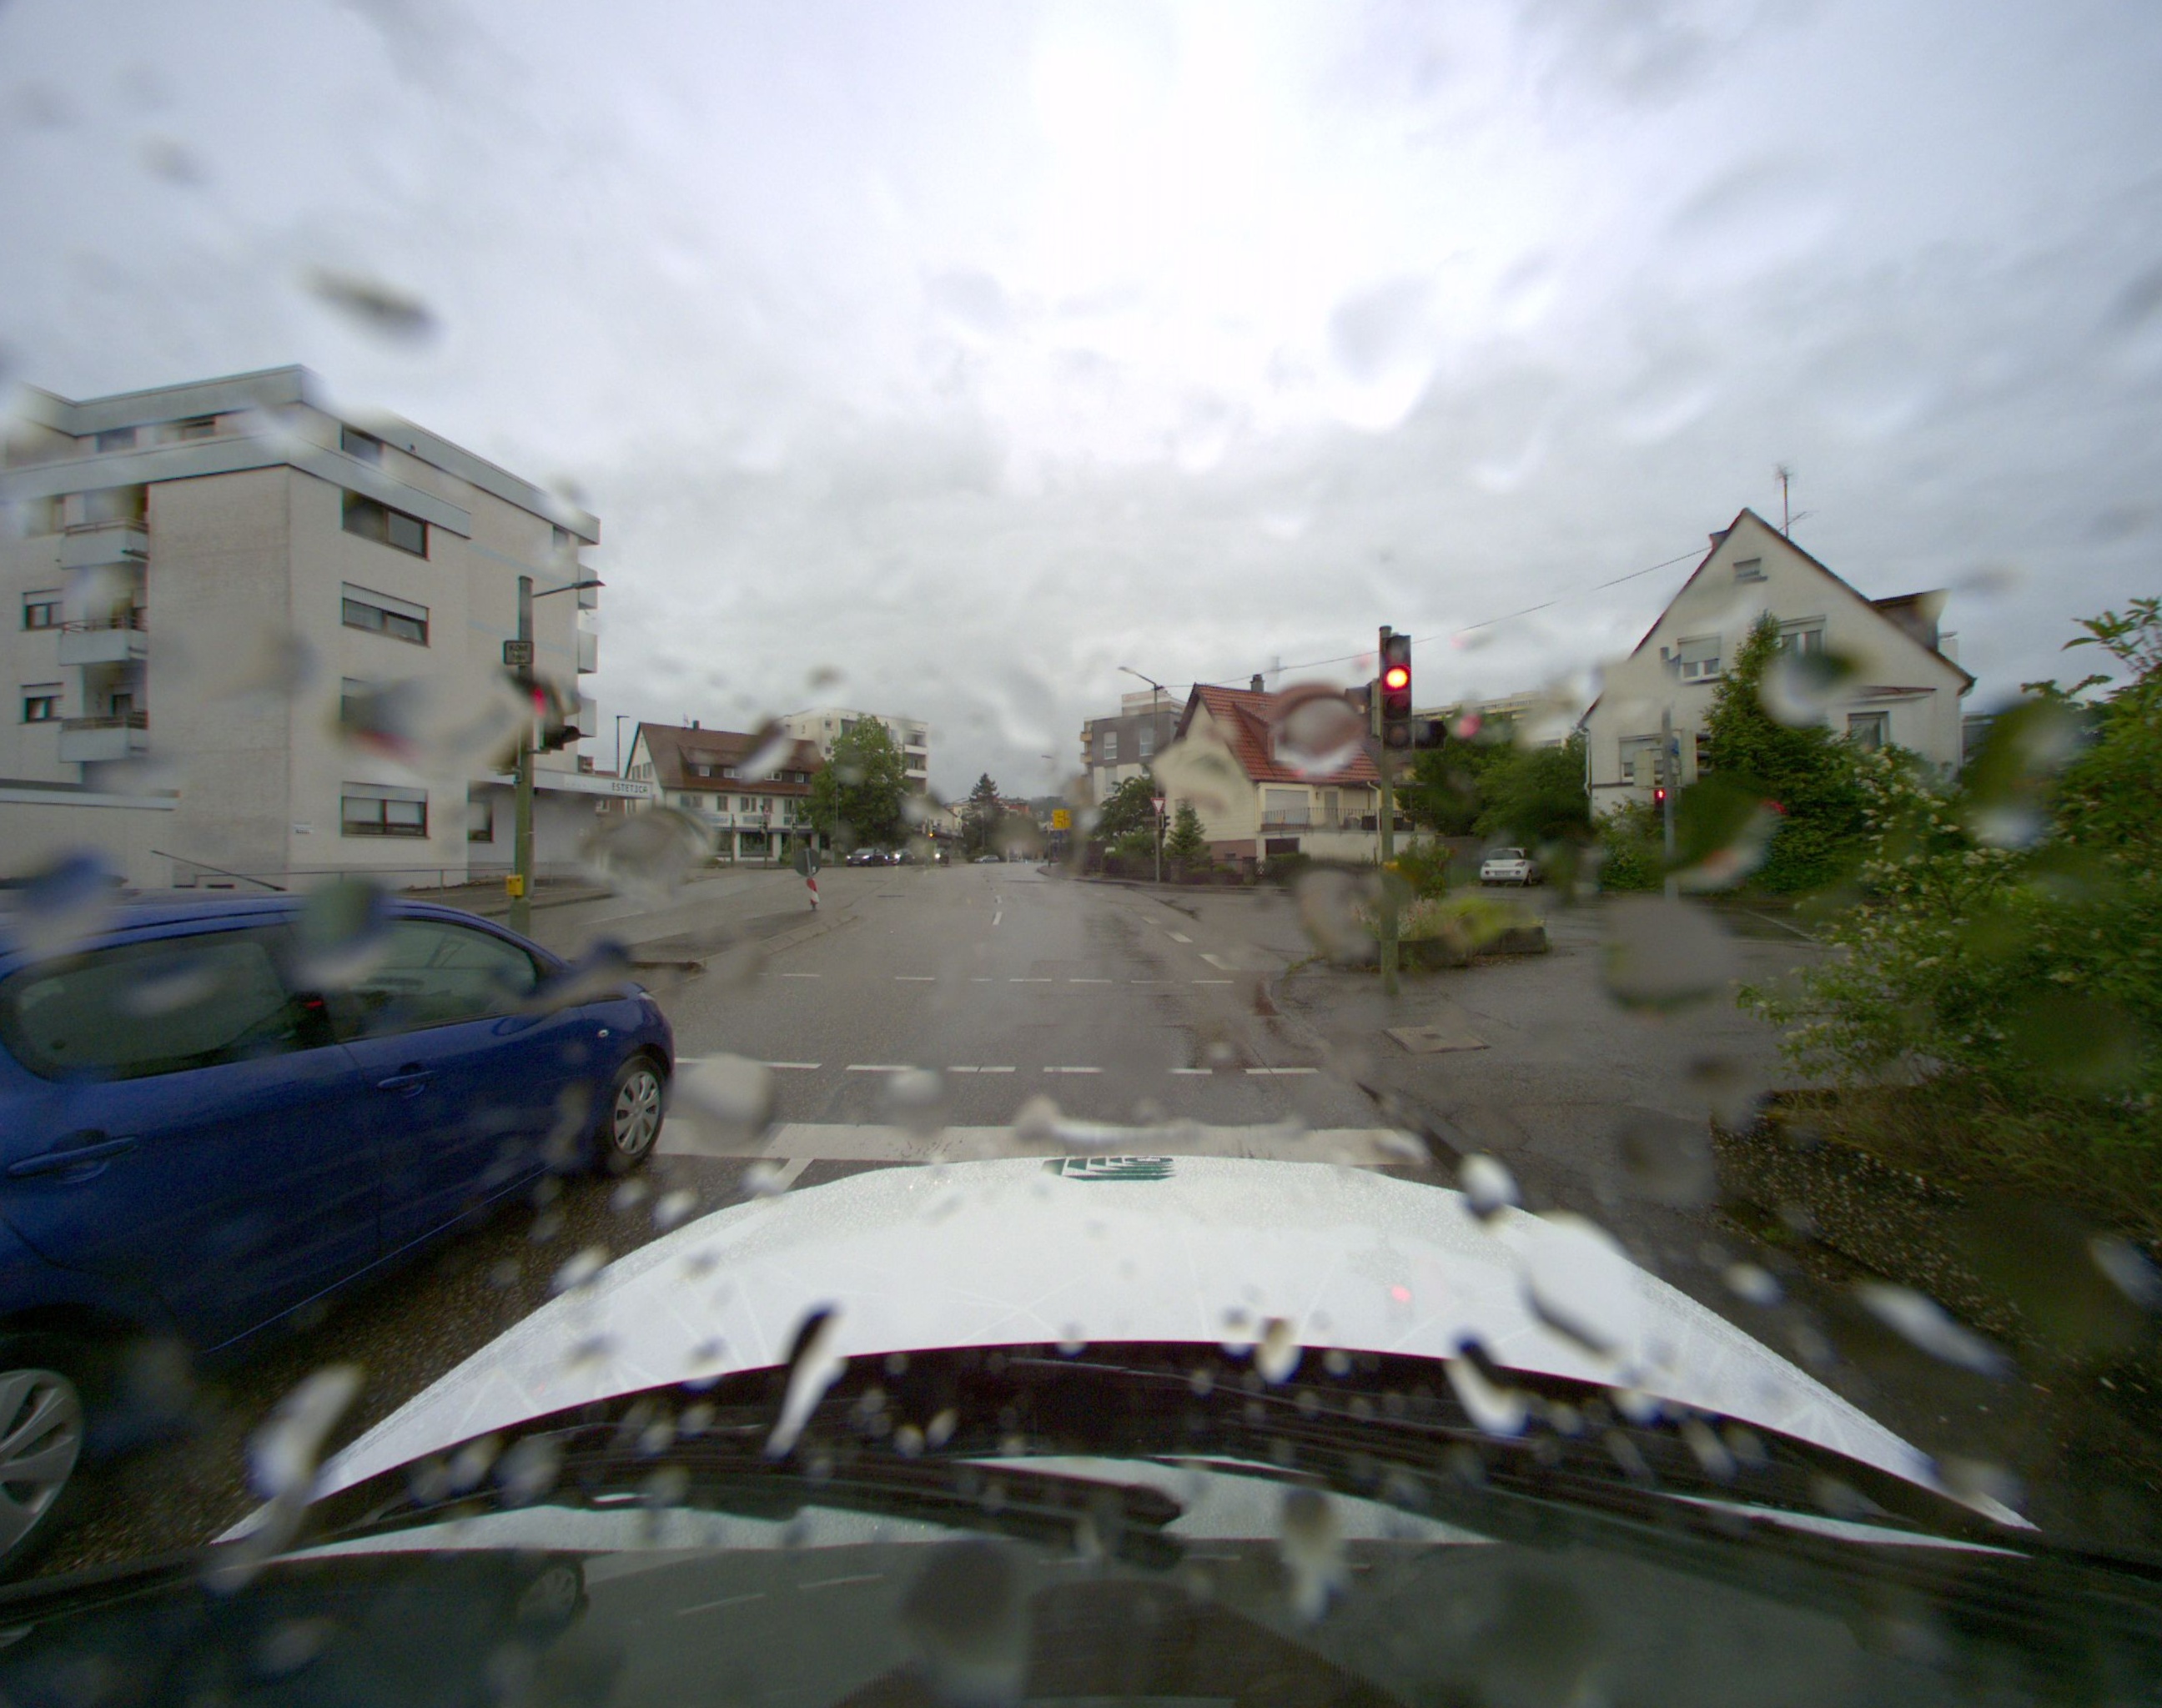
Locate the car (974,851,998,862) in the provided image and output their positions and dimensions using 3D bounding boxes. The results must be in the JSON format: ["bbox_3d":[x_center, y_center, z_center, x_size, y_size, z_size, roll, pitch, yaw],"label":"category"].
[{"bbox_3d":[-15.457,0.401,132.712,3.838,1.815,1.760,-1,1,-2],"label":"car"}]

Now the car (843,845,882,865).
[{"bbox_3d":[-16.320,0.040,60.934,1.772,1.420,3.832,-1,1,1],"label":"car"}]

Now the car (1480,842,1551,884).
[{"bbox_3d":[16.974,0.306,31.745,1.723,1.514,4.026,0,1,38],"label":"car"}]

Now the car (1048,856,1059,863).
[{"bbox_3d":[-5.642,1.129,167.404,1.806,1.486,4.192,-2,1,2],"label":"car"}]

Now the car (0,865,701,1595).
[{"bbox_3d":[-2.941,0.790,2.861,1.573,1.410,3.272,0,1,2],"label":"car"}]

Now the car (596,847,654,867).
[{"bbox_3d":[-38.684,0.238,69.164,3.989,1.572,1.850,-1,1,-42],"label":"car"}]

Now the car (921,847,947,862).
[{"bbox_3d":[-14.369,0.019,79.857,1.772,1.420,3.832,-1,1,1],"label":"car"}]

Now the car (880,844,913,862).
[{"bbox_3d":[-15.429,-0.092,68.207,1.709,1.387,4.022,-1,1,1],"label":"car"}]
